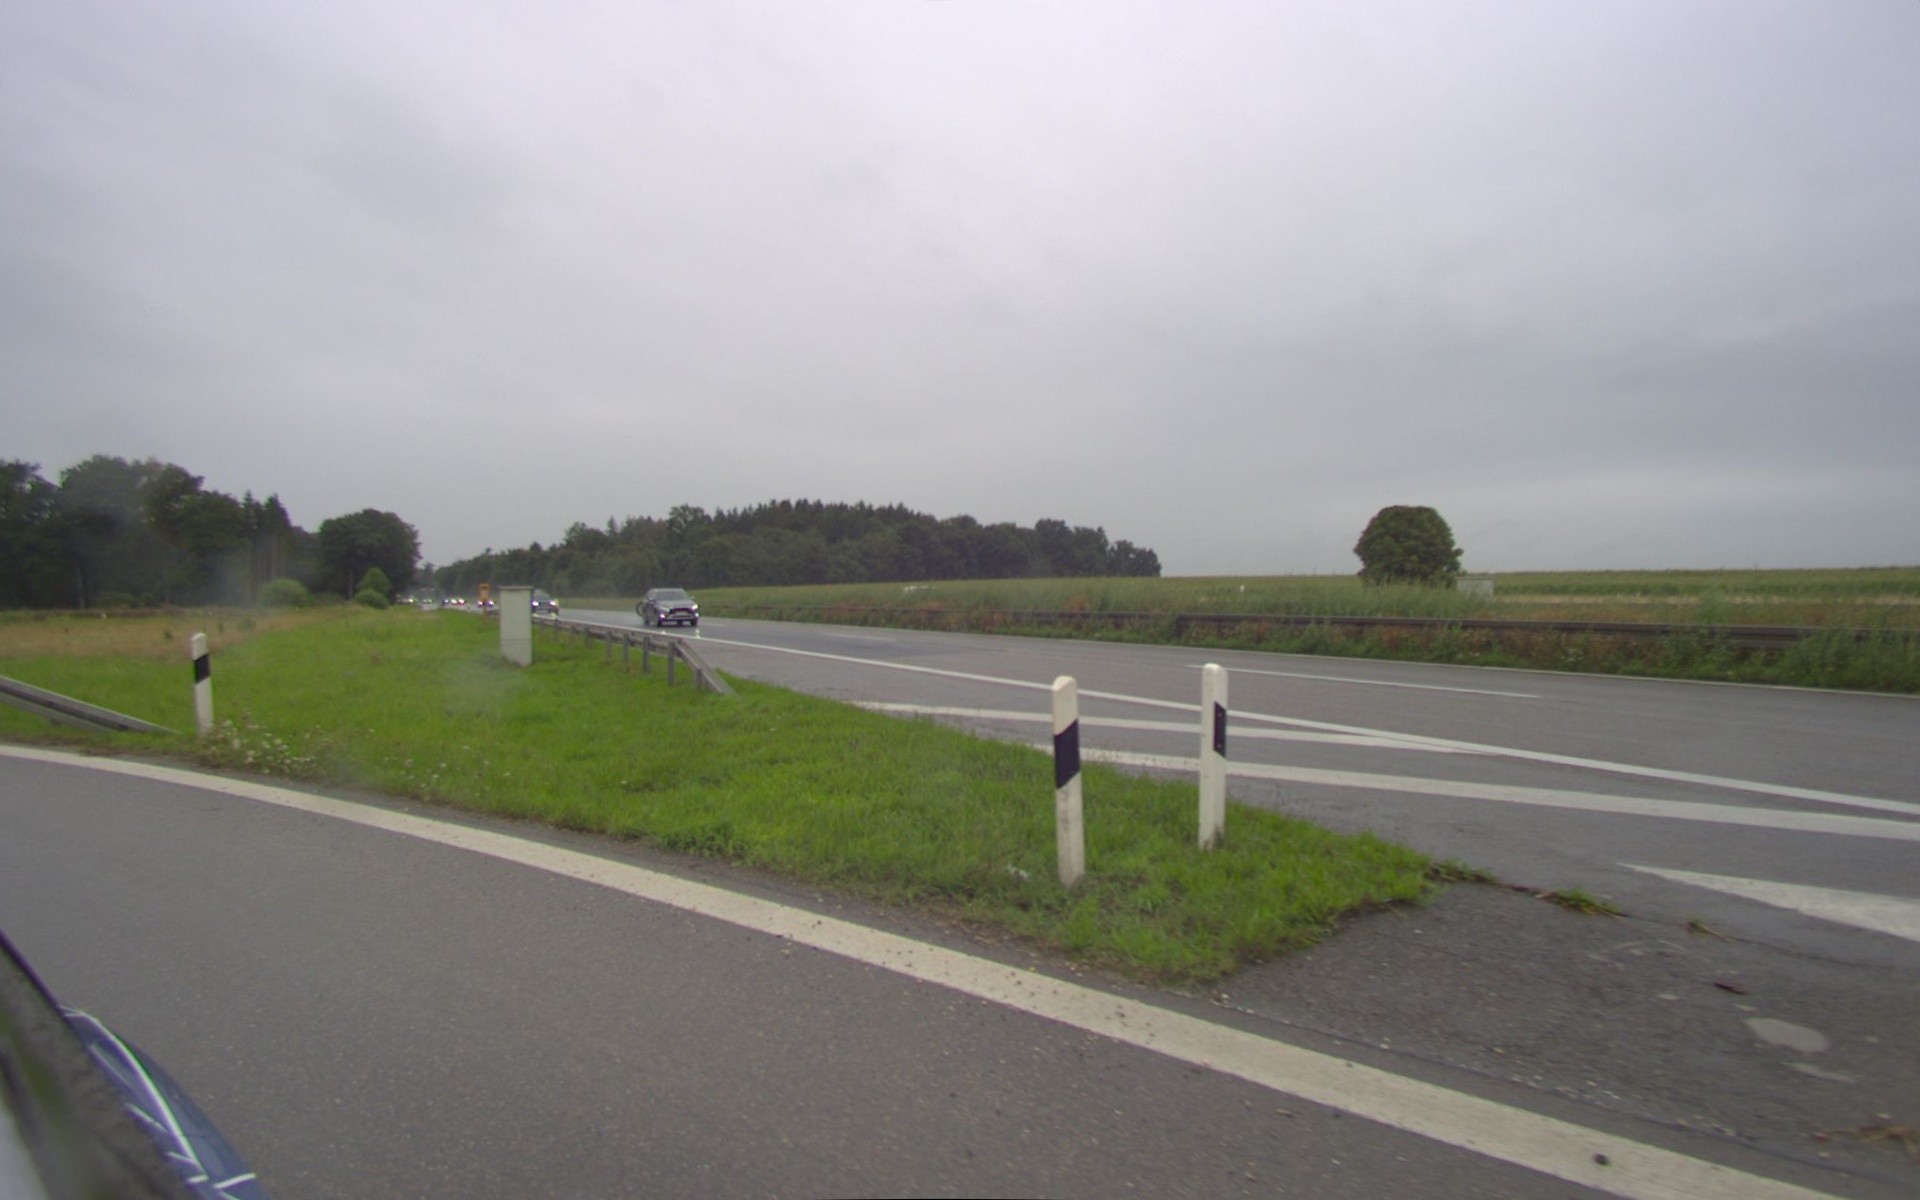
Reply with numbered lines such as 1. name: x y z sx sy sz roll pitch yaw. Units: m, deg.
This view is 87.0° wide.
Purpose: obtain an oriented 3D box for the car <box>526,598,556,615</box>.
1. car: -37.475 0.586 90.523 2.064 1.465 4.610 0 0 -28

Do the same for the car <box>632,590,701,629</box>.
1. car: -13.245 0.406 45.516 1.836 1.646 5.117 -1 1 -29

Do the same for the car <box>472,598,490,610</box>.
1. car: -66.919 0.598 141.419 2.115 1.648 4.610 0 0 -28

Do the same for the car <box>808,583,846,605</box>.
1. car: -11.324 -0.468 86.041 1.706 1.749 4.012 -3 1 -31

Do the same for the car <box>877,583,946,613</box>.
1. car: -2.787 -0.131 57.064 2.075 1.551 4.546 -3 1 -28
